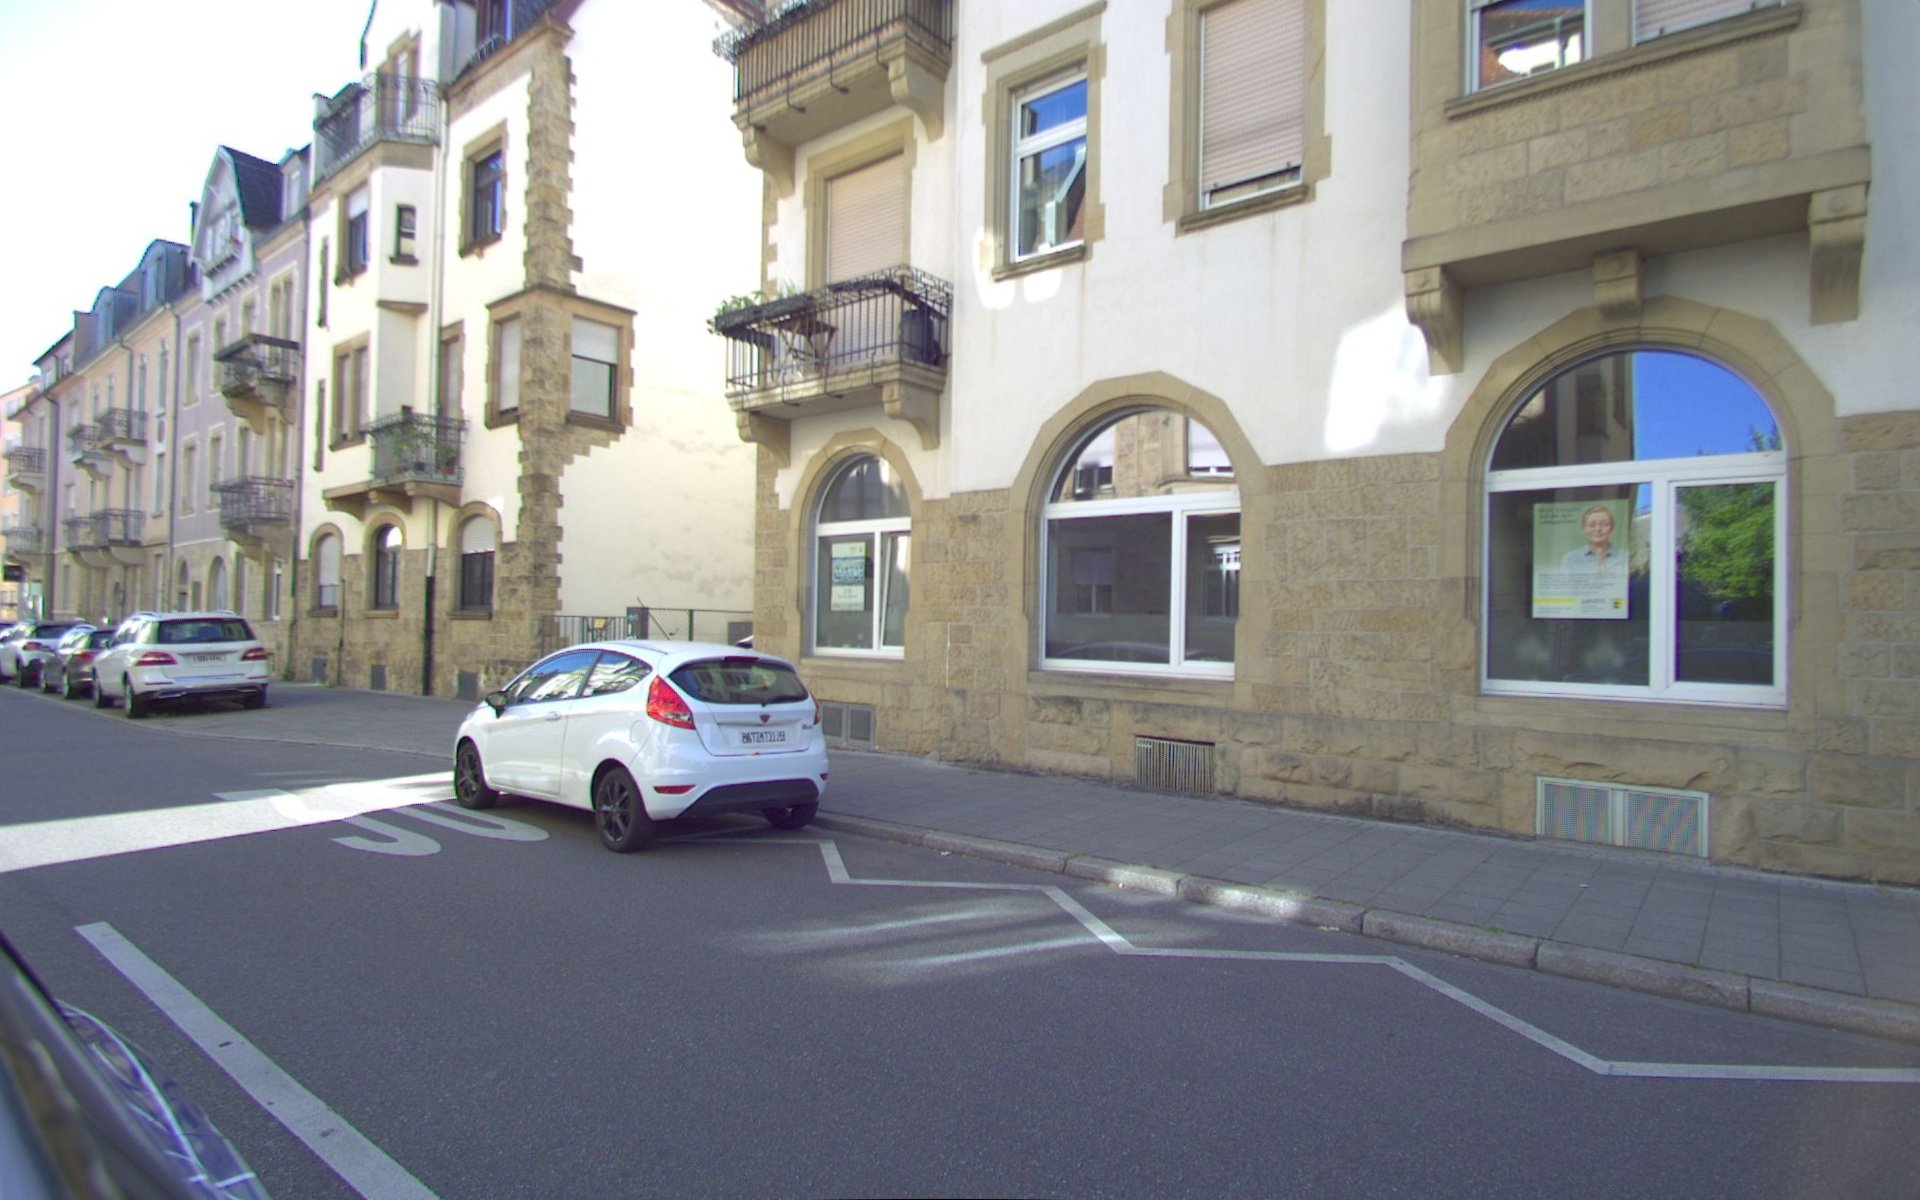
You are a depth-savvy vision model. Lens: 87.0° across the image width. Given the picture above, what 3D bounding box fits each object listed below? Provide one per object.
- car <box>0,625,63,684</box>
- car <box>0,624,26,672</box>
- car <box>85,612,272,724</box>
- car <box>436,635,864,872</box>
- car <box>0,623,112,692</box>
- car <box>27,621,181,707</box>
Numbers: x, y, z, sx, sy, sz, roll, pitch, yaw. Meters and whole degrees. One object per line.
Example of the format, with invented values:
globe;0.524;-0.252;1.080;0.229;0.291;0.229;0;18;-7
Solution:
car;-27.161;1.513;28.871;4.317;1.511;1.833;-1;0;41
car;-33.145;1.603;34.219;4.319;1.520;1.866;-1;0;41
car;-13.975;1.097;18.013;4.209;1.740;1.866;-1;0;41
car;-2.621;1.044;8.159;3.642;1.469;1.634;-2;-5;42
car;-22.952;1.380;25.432;4.319;1.520;1.866;-1;0;41
car;-18.449;1.288;21.750;4.319;1.519;1.866;-1;2;41
